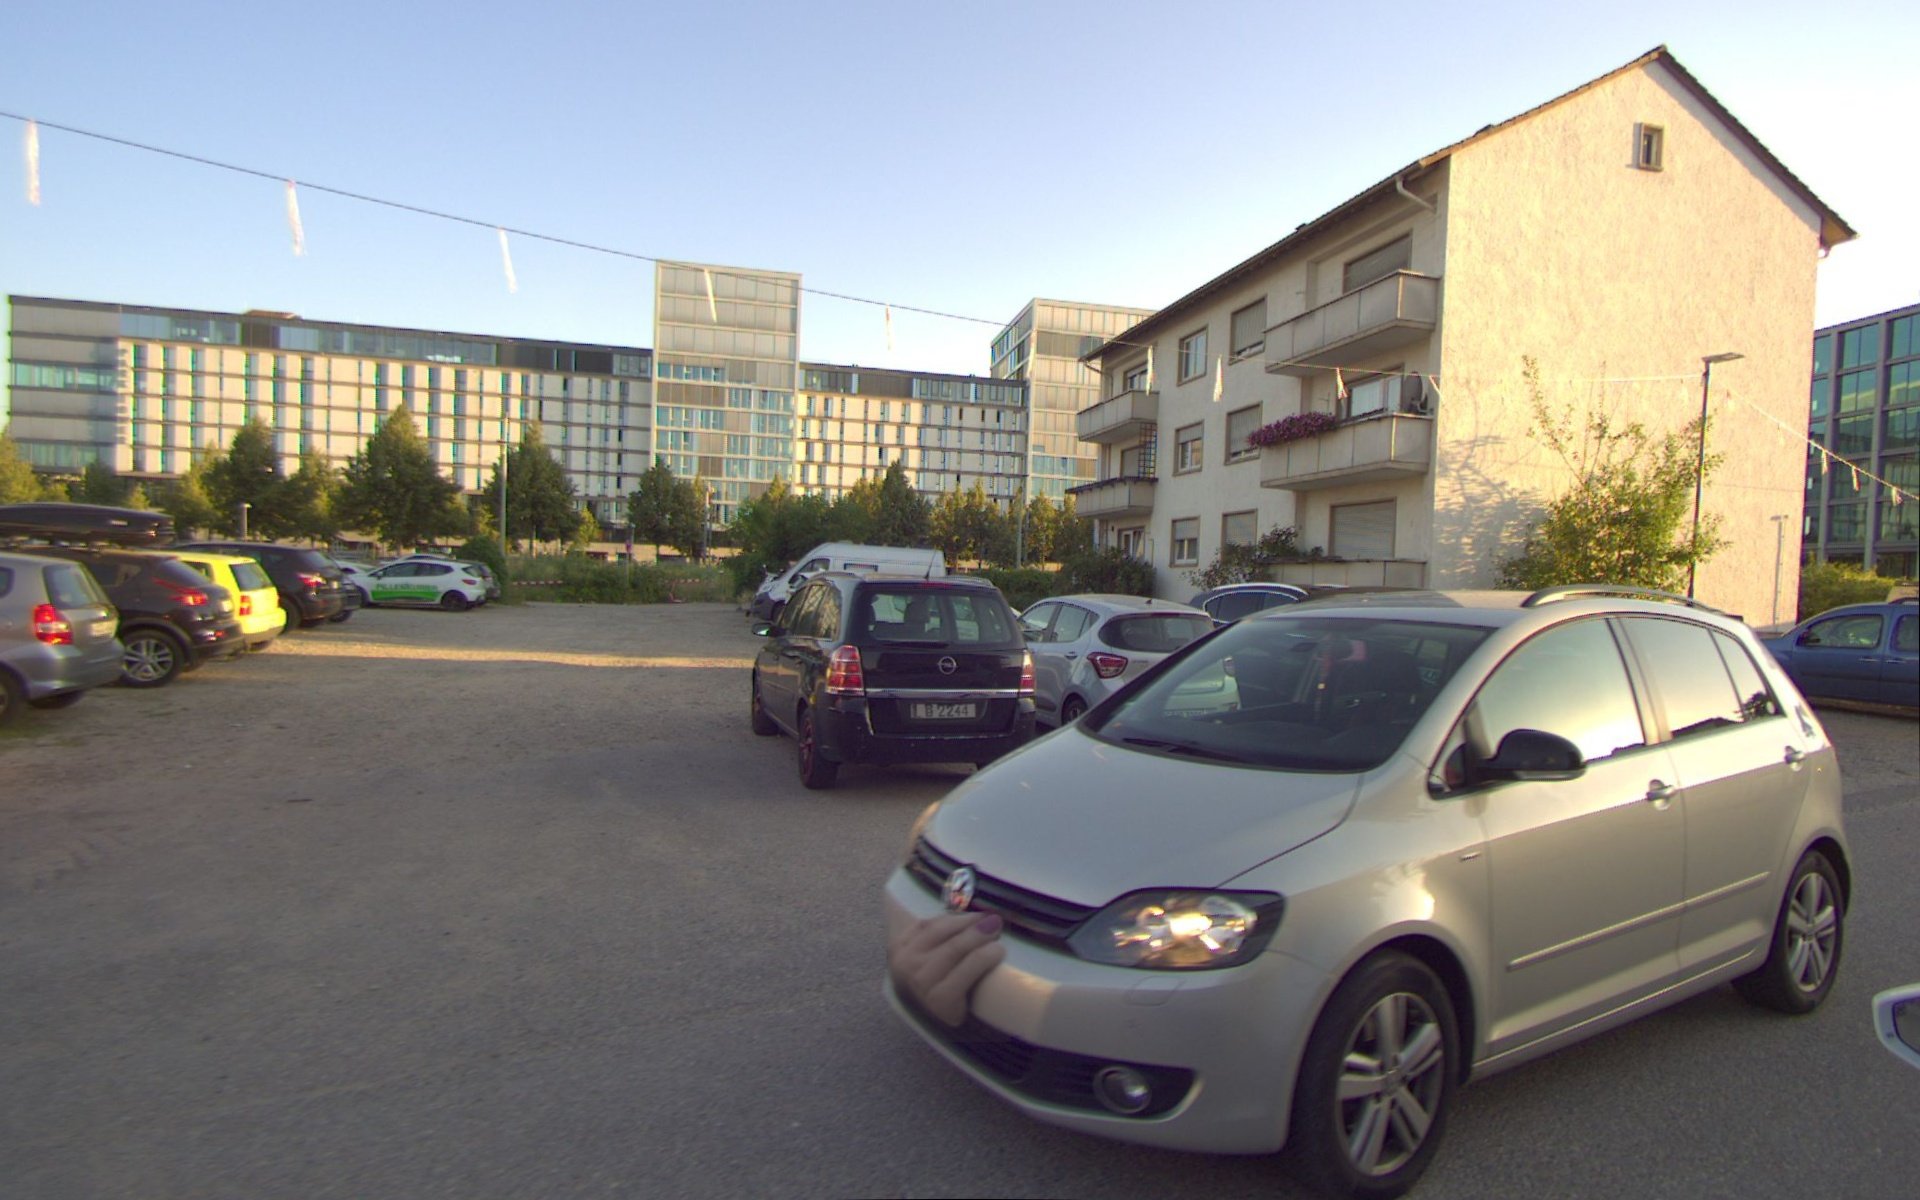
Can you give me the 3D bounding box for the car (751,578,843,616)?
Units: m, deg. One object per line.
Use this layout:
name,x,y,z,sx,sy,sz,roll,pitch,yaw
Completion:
car,-6.769,-0.135,41.611,3.594,1.427,1.483,2,1,-14

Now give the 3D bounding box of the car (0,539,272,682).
car,-10.587,0.094,11.734,3.885,1.543,1.838,2,1,-25

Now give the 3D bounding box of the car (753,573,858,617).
car,-5.574,-0.187,36.152,3.594,1.427,1.483,2,1,-14

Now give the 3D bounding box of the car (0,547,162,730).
car,-9.705,0.260,8.786,3.885,1.543,1.838,2,1,-25

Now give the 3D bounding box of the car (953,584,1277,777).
car,1.421,0.675,10.840,1.781,1.541,3.919,0,3,-20

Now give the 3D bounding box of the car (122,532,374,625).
car,-14.448,-0.412,20.662,3.884,1.691,1.838,2,1,-24

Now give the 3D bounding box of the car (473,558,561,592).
car,-22.764,-1.279,51.711,3.873,1.560,1.658,2,1,-15

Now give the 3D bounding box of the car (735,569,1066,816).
car,-0.788,0.589,8.866,1.821,1.641,4.031,2,1,-20

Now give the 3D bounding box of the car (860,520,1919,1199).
car,1.903,0.685,3.910,4.236,1.641,1.662,2,1,-31

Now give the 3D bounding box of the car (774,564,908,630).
car,-3.673,-0.085,30.757,3.873,1.831,1.556,2,1,-14

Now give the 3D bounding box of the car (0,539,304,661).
car,-11.738,-0.001,14.147,3.884,1.543,1.838,2,1,-24

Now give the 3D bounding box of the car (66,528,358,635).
car,-13.333,-0.301,18.216,3.884,1.691,1.838,2,1,-24

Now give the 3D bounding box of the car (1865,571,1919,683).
car,26.028,0.877,23.797,2.089,2.749,6.355,3,2,-31

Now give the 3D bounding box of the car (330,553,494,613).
car,-15.883,-0.494,29.317,3.873,1.560,1.658,2,1,-15

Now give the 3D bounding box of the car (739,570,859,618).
car,-5.428,-0.200,33.762,3.872,1.566,1.556,0,1,-14

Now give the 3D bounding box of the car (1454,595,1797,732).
car,9.357,0.794,14.528,1.618,1.601,3.920,1,1,-20

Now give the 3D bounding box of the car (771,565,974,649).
car,-1.994,0.156,22.451,4.243,1.653,1.844,2,1,-14

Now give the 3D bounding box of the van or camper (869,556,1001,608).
van or camper,-1.099,-0.761,44.045,5.502,2.021,1.842,2,0,-14

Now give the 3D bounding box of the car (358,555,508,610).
car,-16.650,-0.543,31.912,3.873,1.560,1.658,2,1,-15

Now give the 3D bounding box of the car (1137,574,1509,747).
car,4.050,0.531,11.948,1.797,1.650,4.075,-2,2,-26

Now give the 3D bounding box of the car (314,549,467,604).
car,-21.796,-0.901,38.619,4.755,1.867,1.680,2,1,-13

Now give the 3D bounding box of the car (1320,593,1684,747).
car,6.567,0.766,12.697,1.618,1.537,3.920,3,1,-20

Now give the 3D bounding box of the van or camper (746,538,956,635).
van or camper,-3.081,-0.360,28.159,5.587,2.425,1.844,2,1,-14

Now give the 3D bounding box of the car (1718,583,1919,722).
car,14.661,0.822,15.841,1.731,1.937,3.897,1,3,-36

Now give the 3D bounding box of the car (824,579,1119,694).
car,0.132,0.549,15.281,4.085,1.543,1.842,2,1,-18
